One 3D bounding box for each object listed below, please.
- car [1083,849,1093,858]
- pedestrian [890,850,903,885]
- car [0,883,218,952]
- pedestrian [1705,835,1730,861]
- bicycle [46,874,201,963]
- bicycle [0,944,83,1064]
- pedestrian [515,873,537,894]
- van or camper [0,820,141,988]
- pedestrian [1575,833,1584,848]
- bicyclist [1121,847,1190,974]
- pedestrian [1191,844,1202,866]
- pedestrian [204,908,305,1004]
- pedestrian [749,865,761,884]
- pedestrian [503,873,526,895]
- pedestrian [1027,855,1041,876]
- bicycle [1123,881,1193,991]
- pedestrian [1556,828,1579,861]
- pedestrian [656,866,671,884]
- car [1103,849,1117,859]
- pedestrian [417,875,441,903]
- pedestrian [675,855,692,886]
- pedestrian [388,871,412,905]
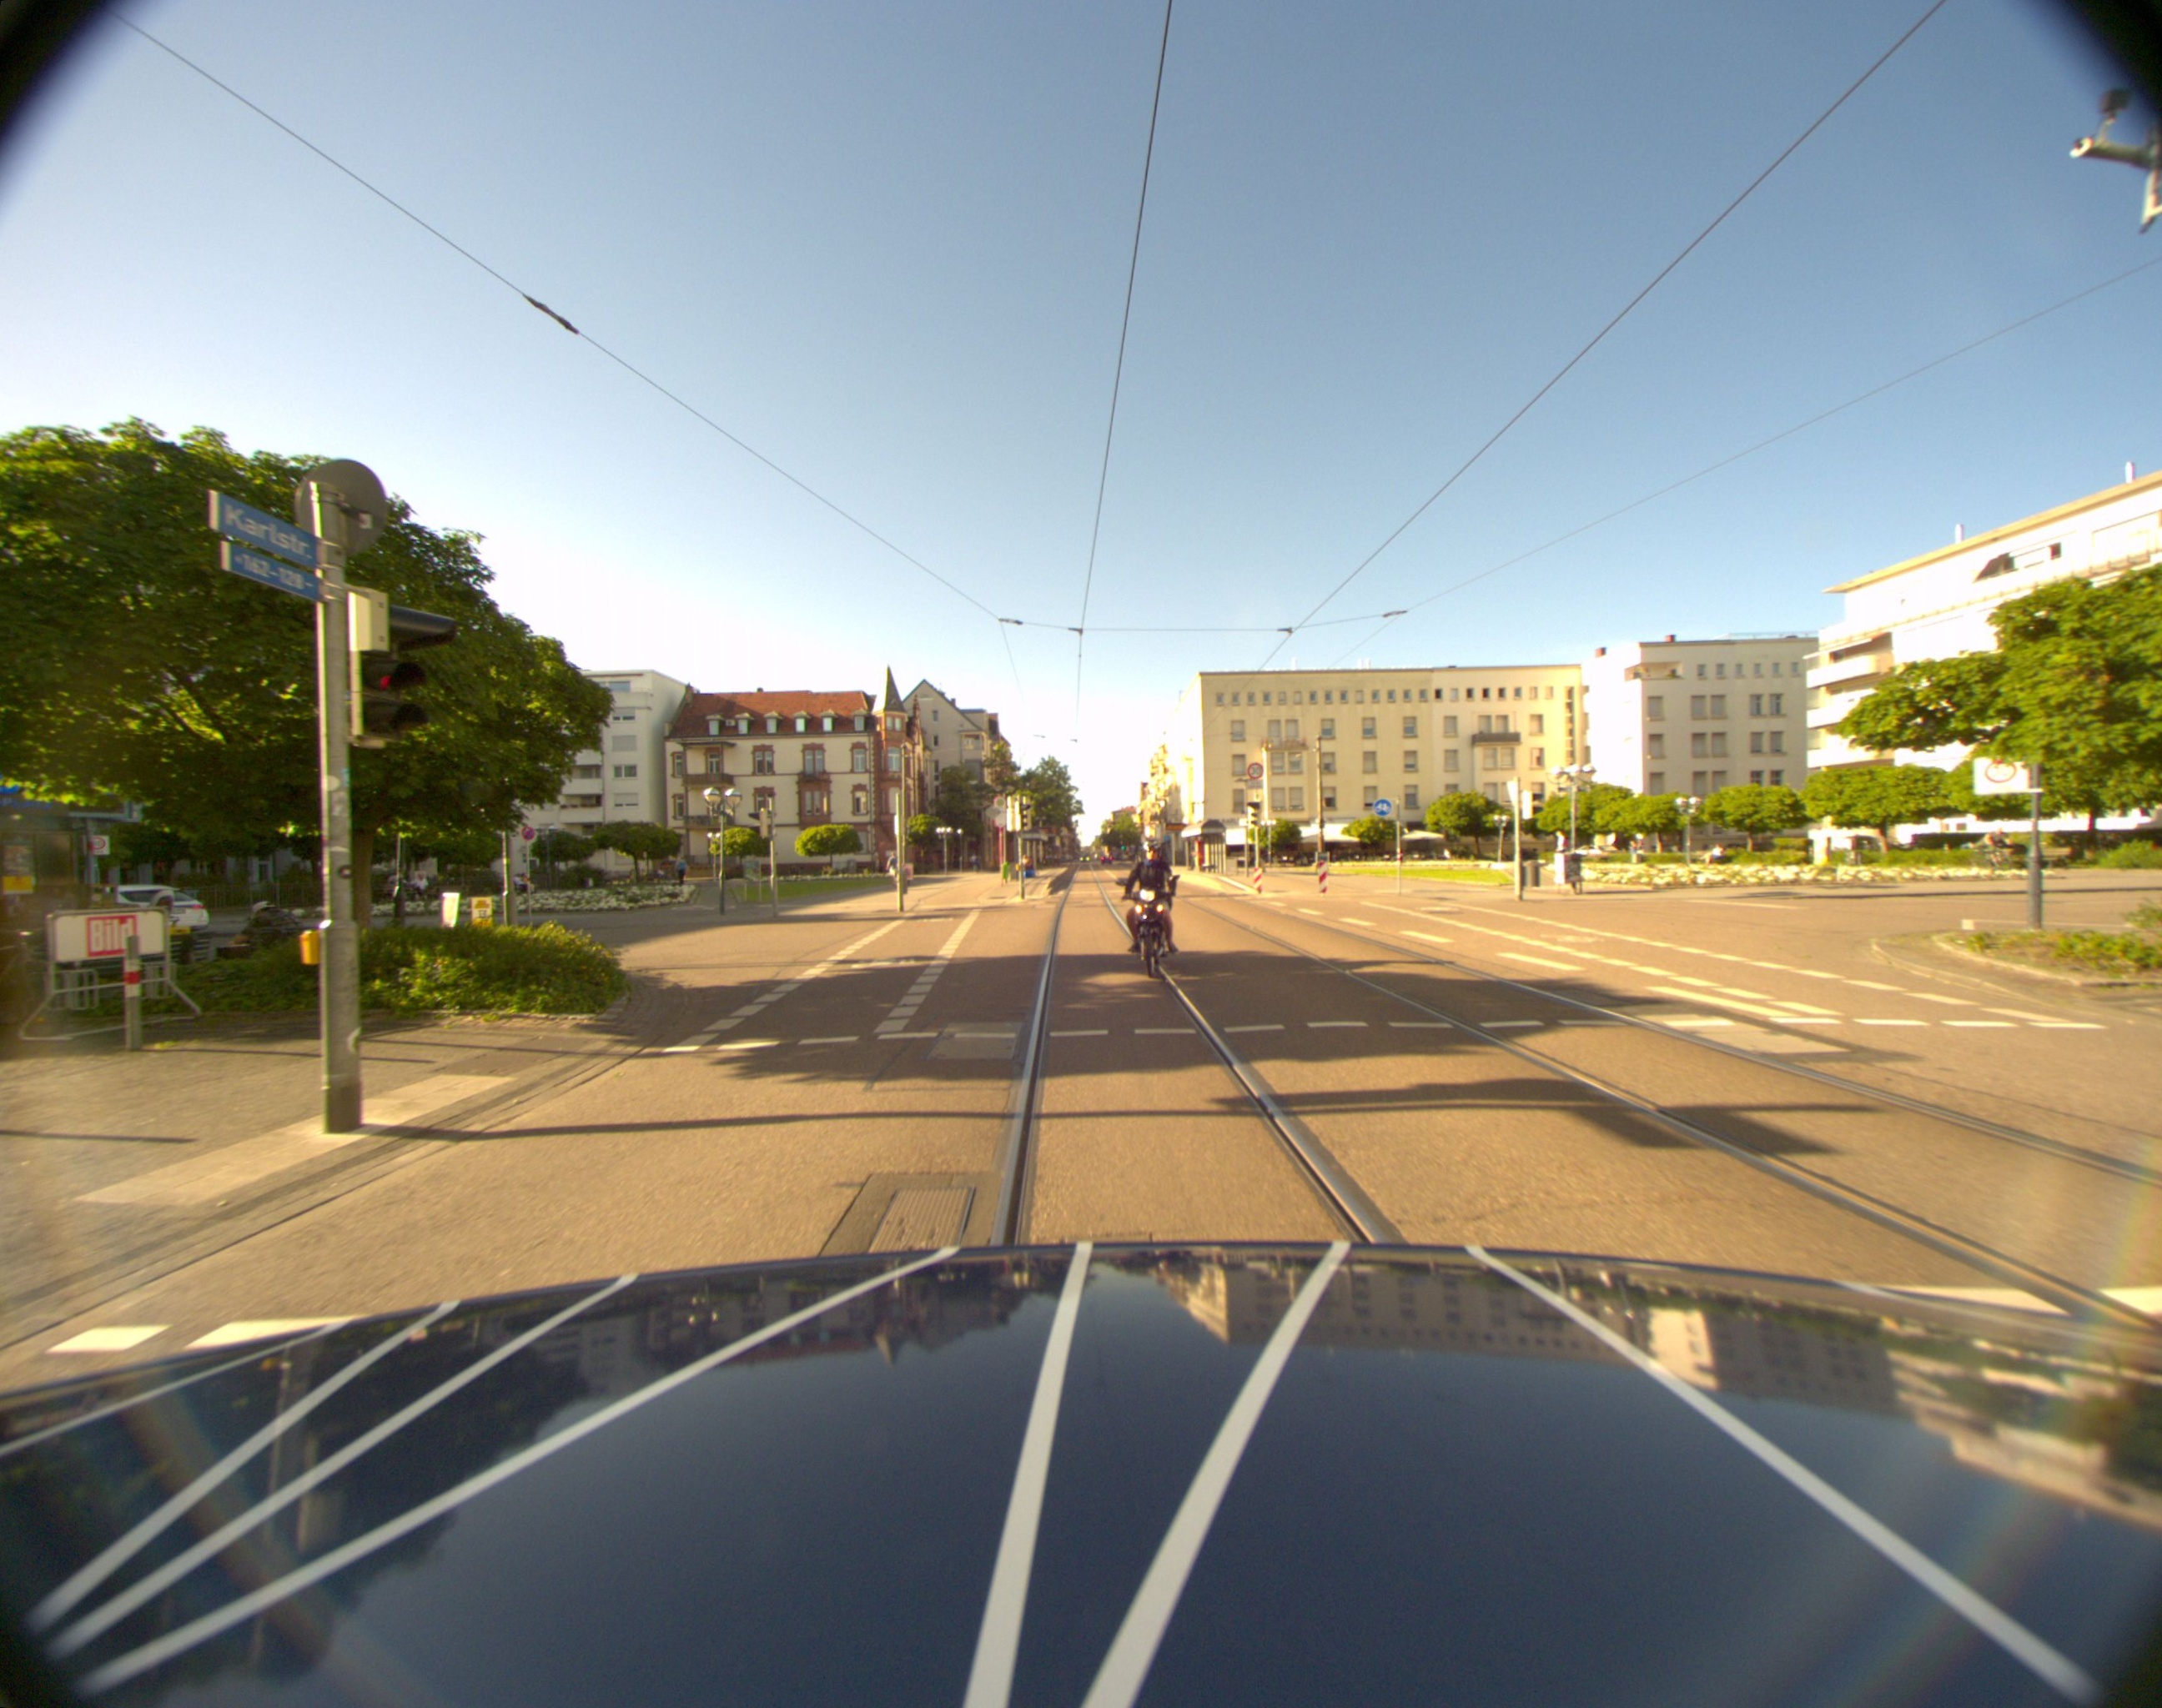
[{"bbox_3d":[1.391,-0.116,156.034,1.970,1.577,4.000,-2,1,1],"label":"car"},{"bbox_3d":[-10.605,0.754,43.591,0.650,1.944,0.583,-2,1,-16],"label":"pedestrian"},{"bbox_3d":[-24.453,1.540,18.707,4.548,1.454,1.809,-2,1,4],"label":"car"},{"bbox_3d":[35.941,-0.327,42.907,0.838,1.410,0.667,-2,1,-1],"label":"pedestrian"},{"bbox_3d":[-16.201,1.079,12.869,2.072,1.415,0.555,-2,1,6],"label":"bicycle"},{"bbox_3d":[-9.844,1.326,6.768,1.666,0.979,0.359,-2,1,8],"label":"bicycle"},{"bbox_3d":[-31.621,1.664,43.304,0.717,1.144,0.637,-2,1,-8],"label":"pedestrian"},{"bbox_3d":[-21.519,0.927,13.472,6.929,2.797,2.219,-2,1,1],"label":"van or camper"},{"bbox_3d":[41.563,-1.095,63.379,0.506,1.215,0.395,-2,1,6],"label":"pedestrian"},{"bbox_3d":[0.938,0.689,9.792,0.774,1.531,0.939,-2,1,2],"label":"bicyclist"},{"bbox_3d":[7.797,0.084,51.407,0.551,1.482,0.610,-2,1,-6],"label":"pedestrian"},{"bbox_3d":[-11.111,1.354,10.225,0.734,1.206,0.551,-2,1,8],"label":"pedestrian"},{"bbox_3d":[-18.610,1.185,43.378,0.453,1.076,0.449,-3,1,-39],"label":"pedestrian"},{"bbox_3d":[-31.640,1.667,42.457,0.768,1.144,0.637,-2,1,-8],"label":"pedestrian"},{"bbox_3d":[-2.750,0.651,44.310,0.774,1.197,0.610,-2,1,-8],"label":"pedestrian"},{"bbox_3d":[0.949,0.994,9.754,0.767,1.192,1.752,-2,1,3],"label":"bicycle"},{"bbox_3d":[24.942,-0.498,38.972,0.669,1.686,0.837,-3,2,-45],"label":"pedestrian"},{"bbox_3d":[-31.732,1.587,57.781,0.710,1.285,0.679,-2,1,-2],"label":"pedestrian"},{"bbox_3d":[4.539,-0.004,118.581,1.970,1.577,4.000,-2,1,2],"label":"car"},{"bbox_3d":[-31.340,1.668,36.527,0.561,1.266,0.700,-2,1,-10],"label":"pedestrian"},{"bbox_3d":[-20.940,0.886,40.067,0.650,1.592,0.700,-3,1,-35],"label":"pedestrian"},{"bbox_3d":[-31.401,1.557,35.044,0.561,1.534,0.554,-2,1,-10],"label":"pedestrian"}]
